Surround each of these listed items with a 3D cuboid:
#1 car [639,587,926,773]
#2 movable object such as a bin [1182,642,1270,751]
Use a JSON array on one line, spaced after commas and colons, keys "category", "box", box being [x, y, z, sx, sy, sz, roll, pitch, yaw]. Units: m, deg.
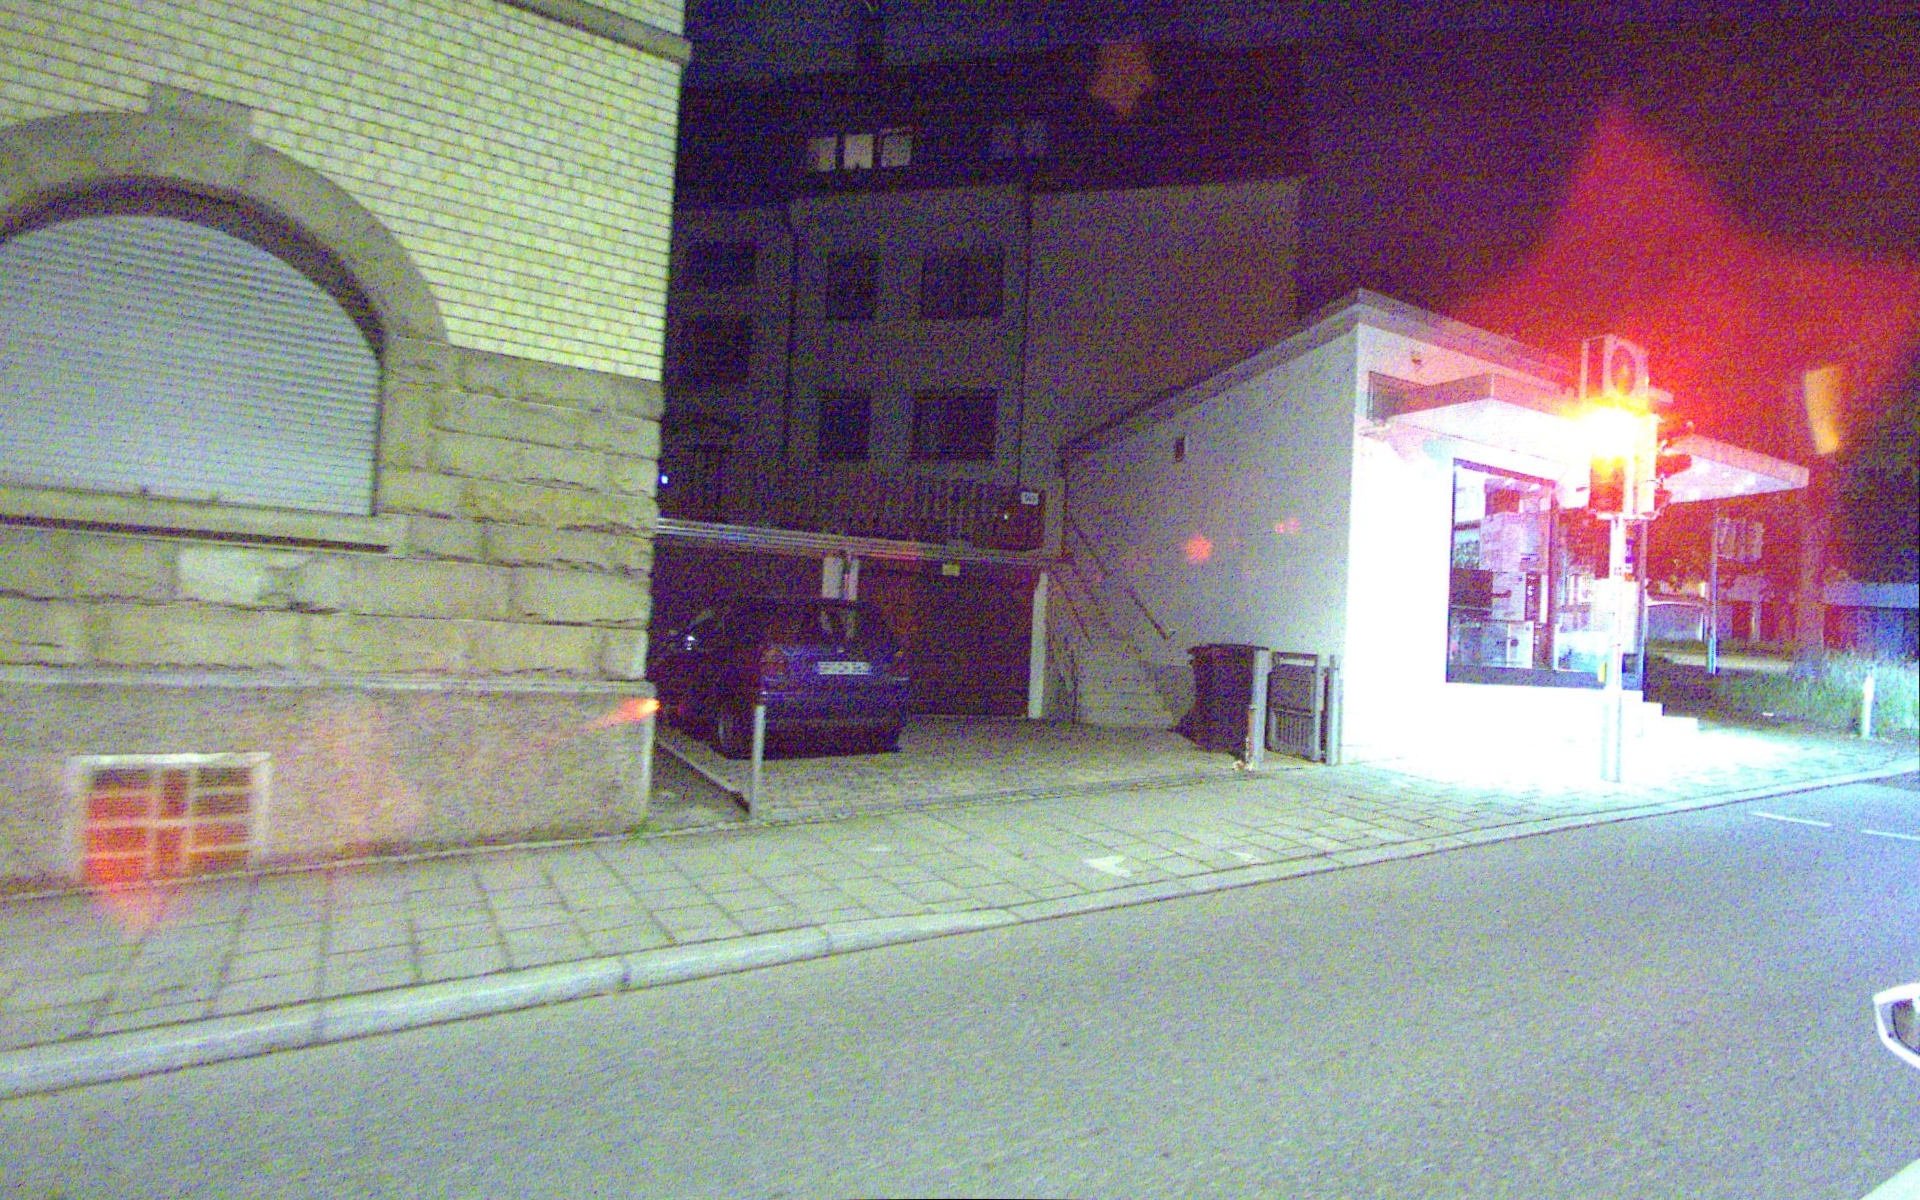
[{"category": "car", "box": [-1.874, 0.644, 9.810, 1.655, 1.470, 3.341, 2, 0, -31]}, {"category": "movable object such as a bin", "box": [2.755, 0.984, 10.424, 0.643, 1.063, 0.639, 2, 0, -12]}]
